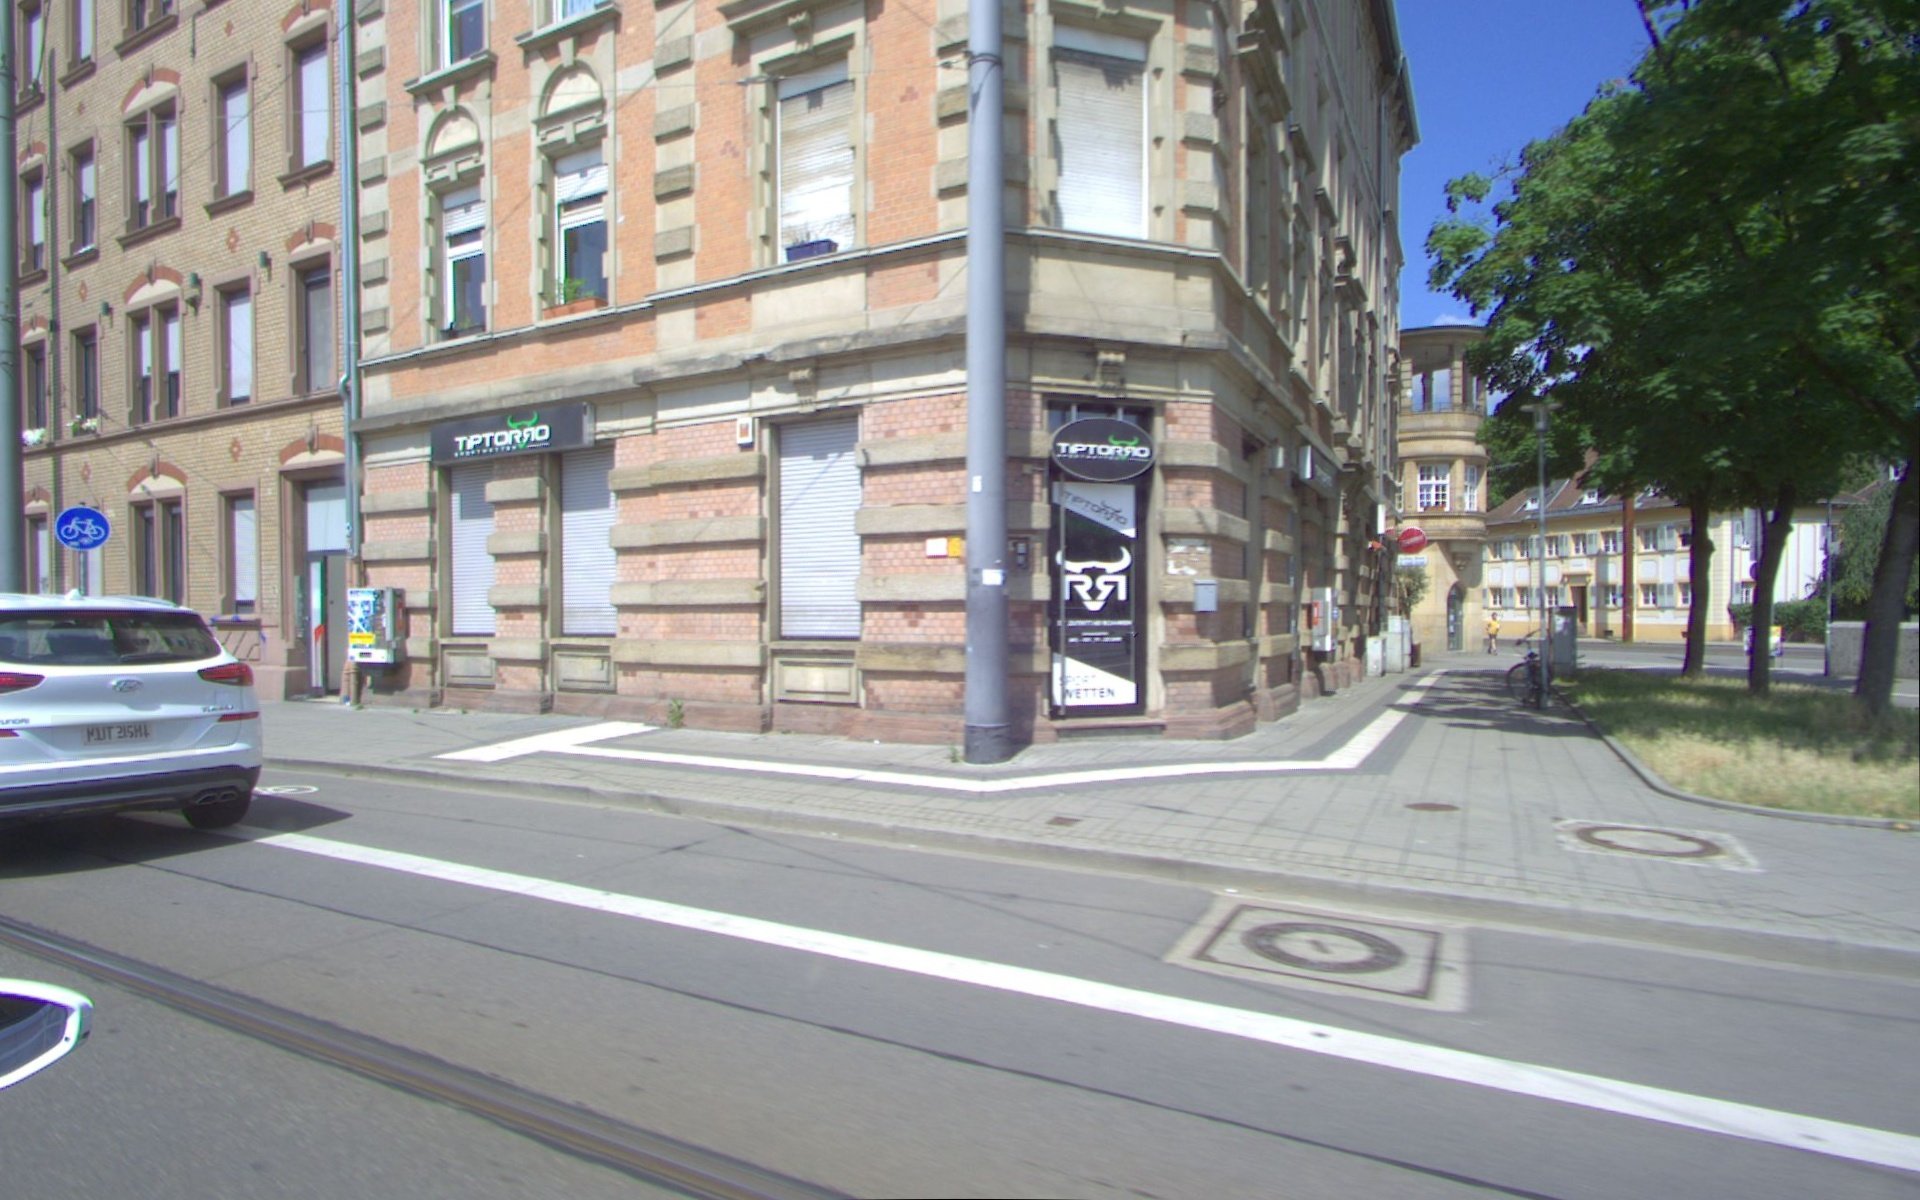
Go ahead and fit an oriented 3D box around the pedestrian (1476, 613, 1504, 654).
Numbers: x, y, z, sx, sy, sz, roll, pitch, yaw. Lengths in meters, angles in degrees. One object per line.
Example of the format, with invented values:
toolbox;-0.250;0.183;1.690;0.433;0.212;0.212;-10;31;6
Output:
pedestrian;21.400;1.345;40.456;0.851;1.558;0.900;3;3;23

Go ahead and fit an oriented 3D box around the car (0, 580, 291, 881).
car;-6.767;0.765;7.065;4.120;1.655;1.849;-1;-2;31

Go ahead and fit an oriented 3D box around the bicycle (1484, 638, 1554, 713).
bicycle;8.854;1.160;15.835;0.754;1.064;1.641;1;0;36

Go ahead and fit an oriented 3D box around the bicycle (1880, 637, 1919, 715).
bicycle;14.652;1.088;13.981;2.536;1.068;0.790;0;1;31
